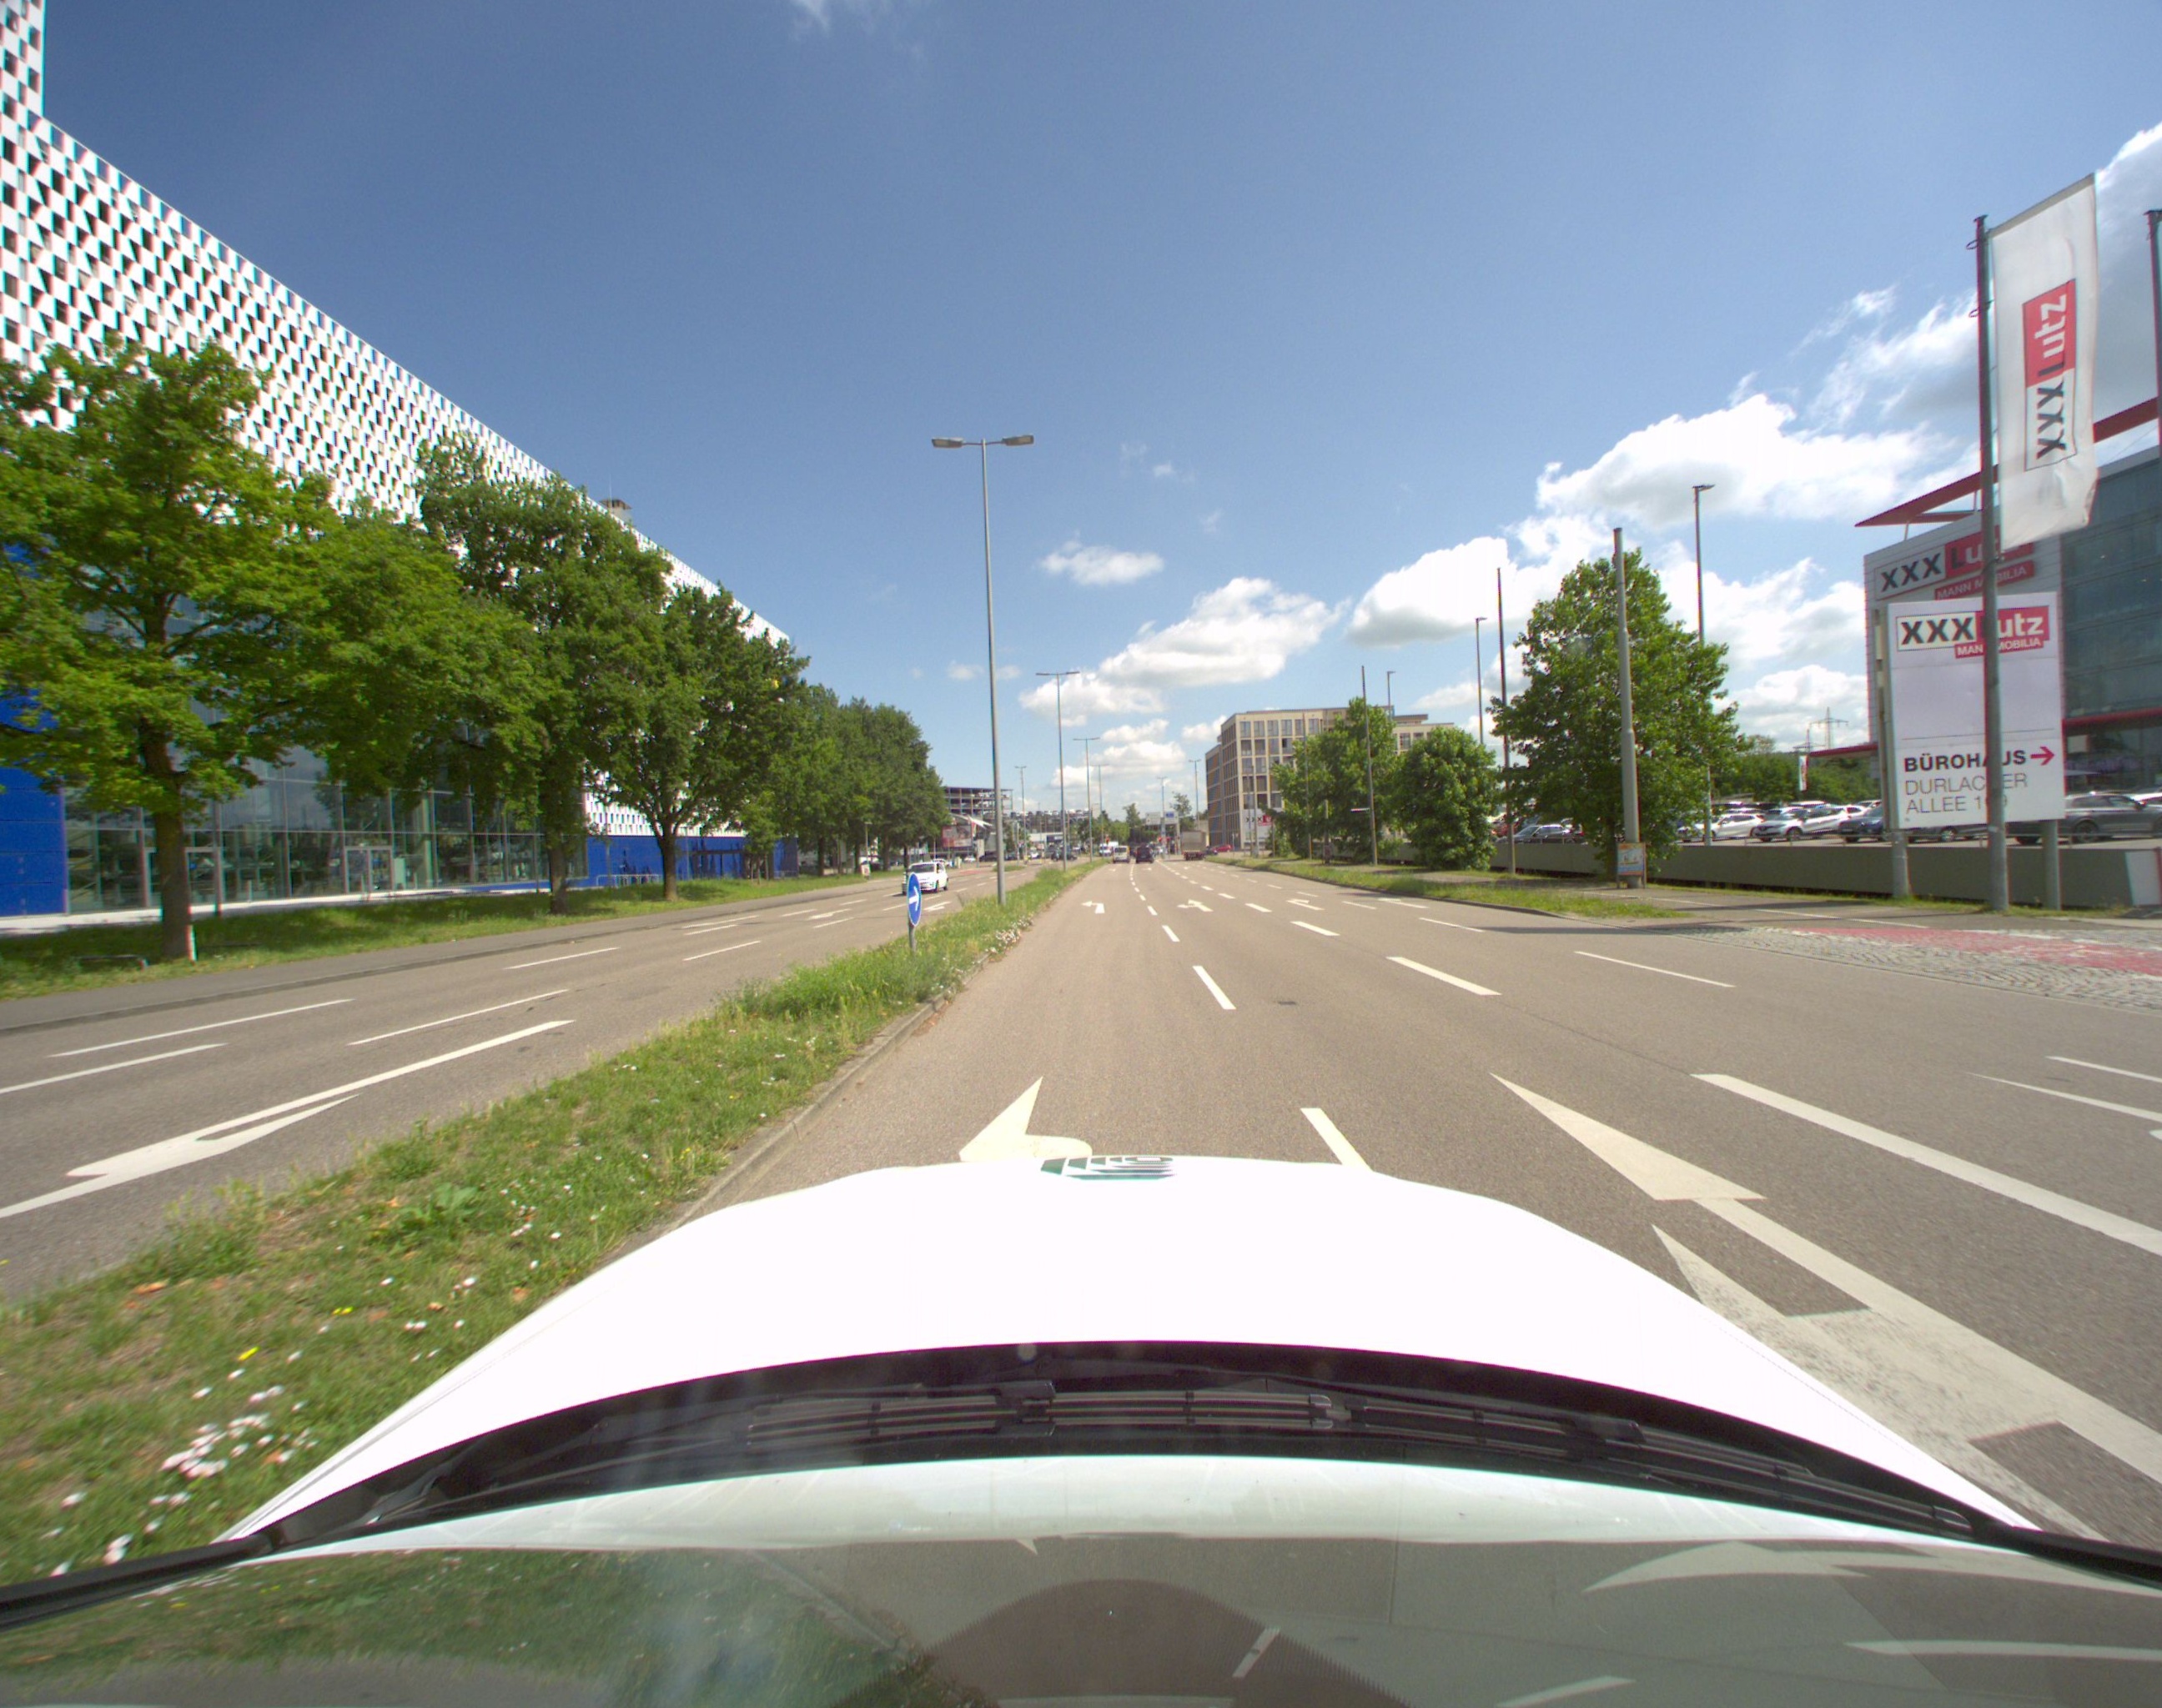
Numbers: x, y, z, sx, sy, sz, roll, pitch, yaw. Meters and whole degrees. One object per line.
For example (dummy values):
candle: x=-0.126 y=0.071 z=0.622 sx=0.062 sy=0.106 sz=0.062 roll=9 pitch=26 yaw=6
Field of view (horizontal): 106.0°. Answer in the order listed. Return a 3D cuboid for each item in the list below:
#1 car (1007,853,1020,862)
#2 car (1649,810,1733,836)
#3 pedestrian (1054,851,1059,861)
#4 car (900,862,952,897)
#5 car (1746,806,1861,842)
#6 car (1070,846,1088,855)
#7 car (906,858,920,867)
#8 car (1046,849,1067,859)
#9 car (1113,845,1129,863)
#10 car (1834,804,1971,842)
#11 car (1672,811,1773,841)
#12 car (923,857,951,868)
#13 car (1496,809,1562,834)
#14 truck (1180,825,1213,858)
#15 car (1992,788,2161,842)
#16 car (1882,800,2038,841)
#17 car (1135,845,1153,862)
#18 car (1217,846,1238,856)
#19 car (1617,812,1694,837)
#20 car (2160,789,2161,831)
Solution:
car: x=-12.427 y=0.596 z=150.608 sx=1.819 sy=1.552 sz=3.982 roll=-2 pitch=0 yaw=-13
car: x=40.977 y=-2.076 z=54.799 sx=4.169 sy=1.434 sz=1.893 roll=-4 pitch=1 yaw=1
pedestrian: x=-3.508 y=0.272 z=116.708 sx=0.464 sy=1.512 sz=0.515 roll=-2 pitch=0 yaw=29
car: x=-7.345 y=1.179 z=38.803 sx=1.638 sy=1.429 sz=3.670 roll=-4 pitch=0 yaw=1
car: x=35.871 y=-1.480 z=40.519 sx=3.975 sy=1.571 sz=1.999 roll=-2 pitch=0 yaw=-1
car: x=-0.373 y=-0.729 z=186.013 sx=3.977 sy=1.925 sz=1.825 roll=-2 pitch=0 yaw=-3
car: x=-30.666 y=1.455 z=148.777 sx=1.722 sy=1.486 sz=3.701 roll=-2 pitch=1 yaw=0
car: x=-4.672 y=-0.017 z=154.600 sx=3.849 sy=1.639 sz=1.858 roll=-4 pitch=1 yaw=0
car: x=4.664 y=0.010 z=95.059 sx=1.849 sy=2.018 sz=4.002 roll=-1 pitch=1 yaw=2
car: x=35.596 y=-1.336 z=35.346 sx=4.168 sy=1.325 sz=1.689 roll=-4 pitch=0 yaw=1
car: x=35.717 y=-1.564 z=45.429 sx=4.172 sy=1.389 sz=1.892 roll=-4 pitch=1 yaw=-2
car: x=-21.890 y=1.289 z=123.875 sx=3.838 sy=1.466 sz=1.695 roll=-2 pitch=1 yaw=0
car: x=42.378 y=-3.045 z=77.154 sx=5.142 sy=2.195 sz=1.987 roll=-1 pitch=0 yaw=1
truck: x=14.931 y=-1.668 z=104.660 sx=3.106 sy=3.940 sz=8.895 roll=-2 pitch=1 yaw=15
car: x=34.654 y=-1.325 z=28.013 sx=4.344 sy=1.574 sz=2.030 roll=-4 pitch=1 yaw=0
car: x=35.234 y=-1.320 z=32.715 sx=4.344 sy=1.325 sz=1.765 roll=-4 pitch=1 yaw=0
car: x=7.023 y=-0.082 z=90.526 sx=1.810 sy=1.808 sz=4.008 roll=-1 pitch=0 yaw=7
car: x=24.999 y=-0.521 z=138.885 sx=3.261 sy=1.405 sz=1.335 roll=-2 pitch=9 yaw=1
car: x=40.375 y=-2.083 z=57.306 sx=4.169 sy=1.434 sz=1.727 roll=-4 pitch=1 yaw=1
car: x=40.129 y=-1.594 z=27.829 sx=4.225 sy=1.464 sz=1.760 roll=-2 pitch=1 yaw=0
